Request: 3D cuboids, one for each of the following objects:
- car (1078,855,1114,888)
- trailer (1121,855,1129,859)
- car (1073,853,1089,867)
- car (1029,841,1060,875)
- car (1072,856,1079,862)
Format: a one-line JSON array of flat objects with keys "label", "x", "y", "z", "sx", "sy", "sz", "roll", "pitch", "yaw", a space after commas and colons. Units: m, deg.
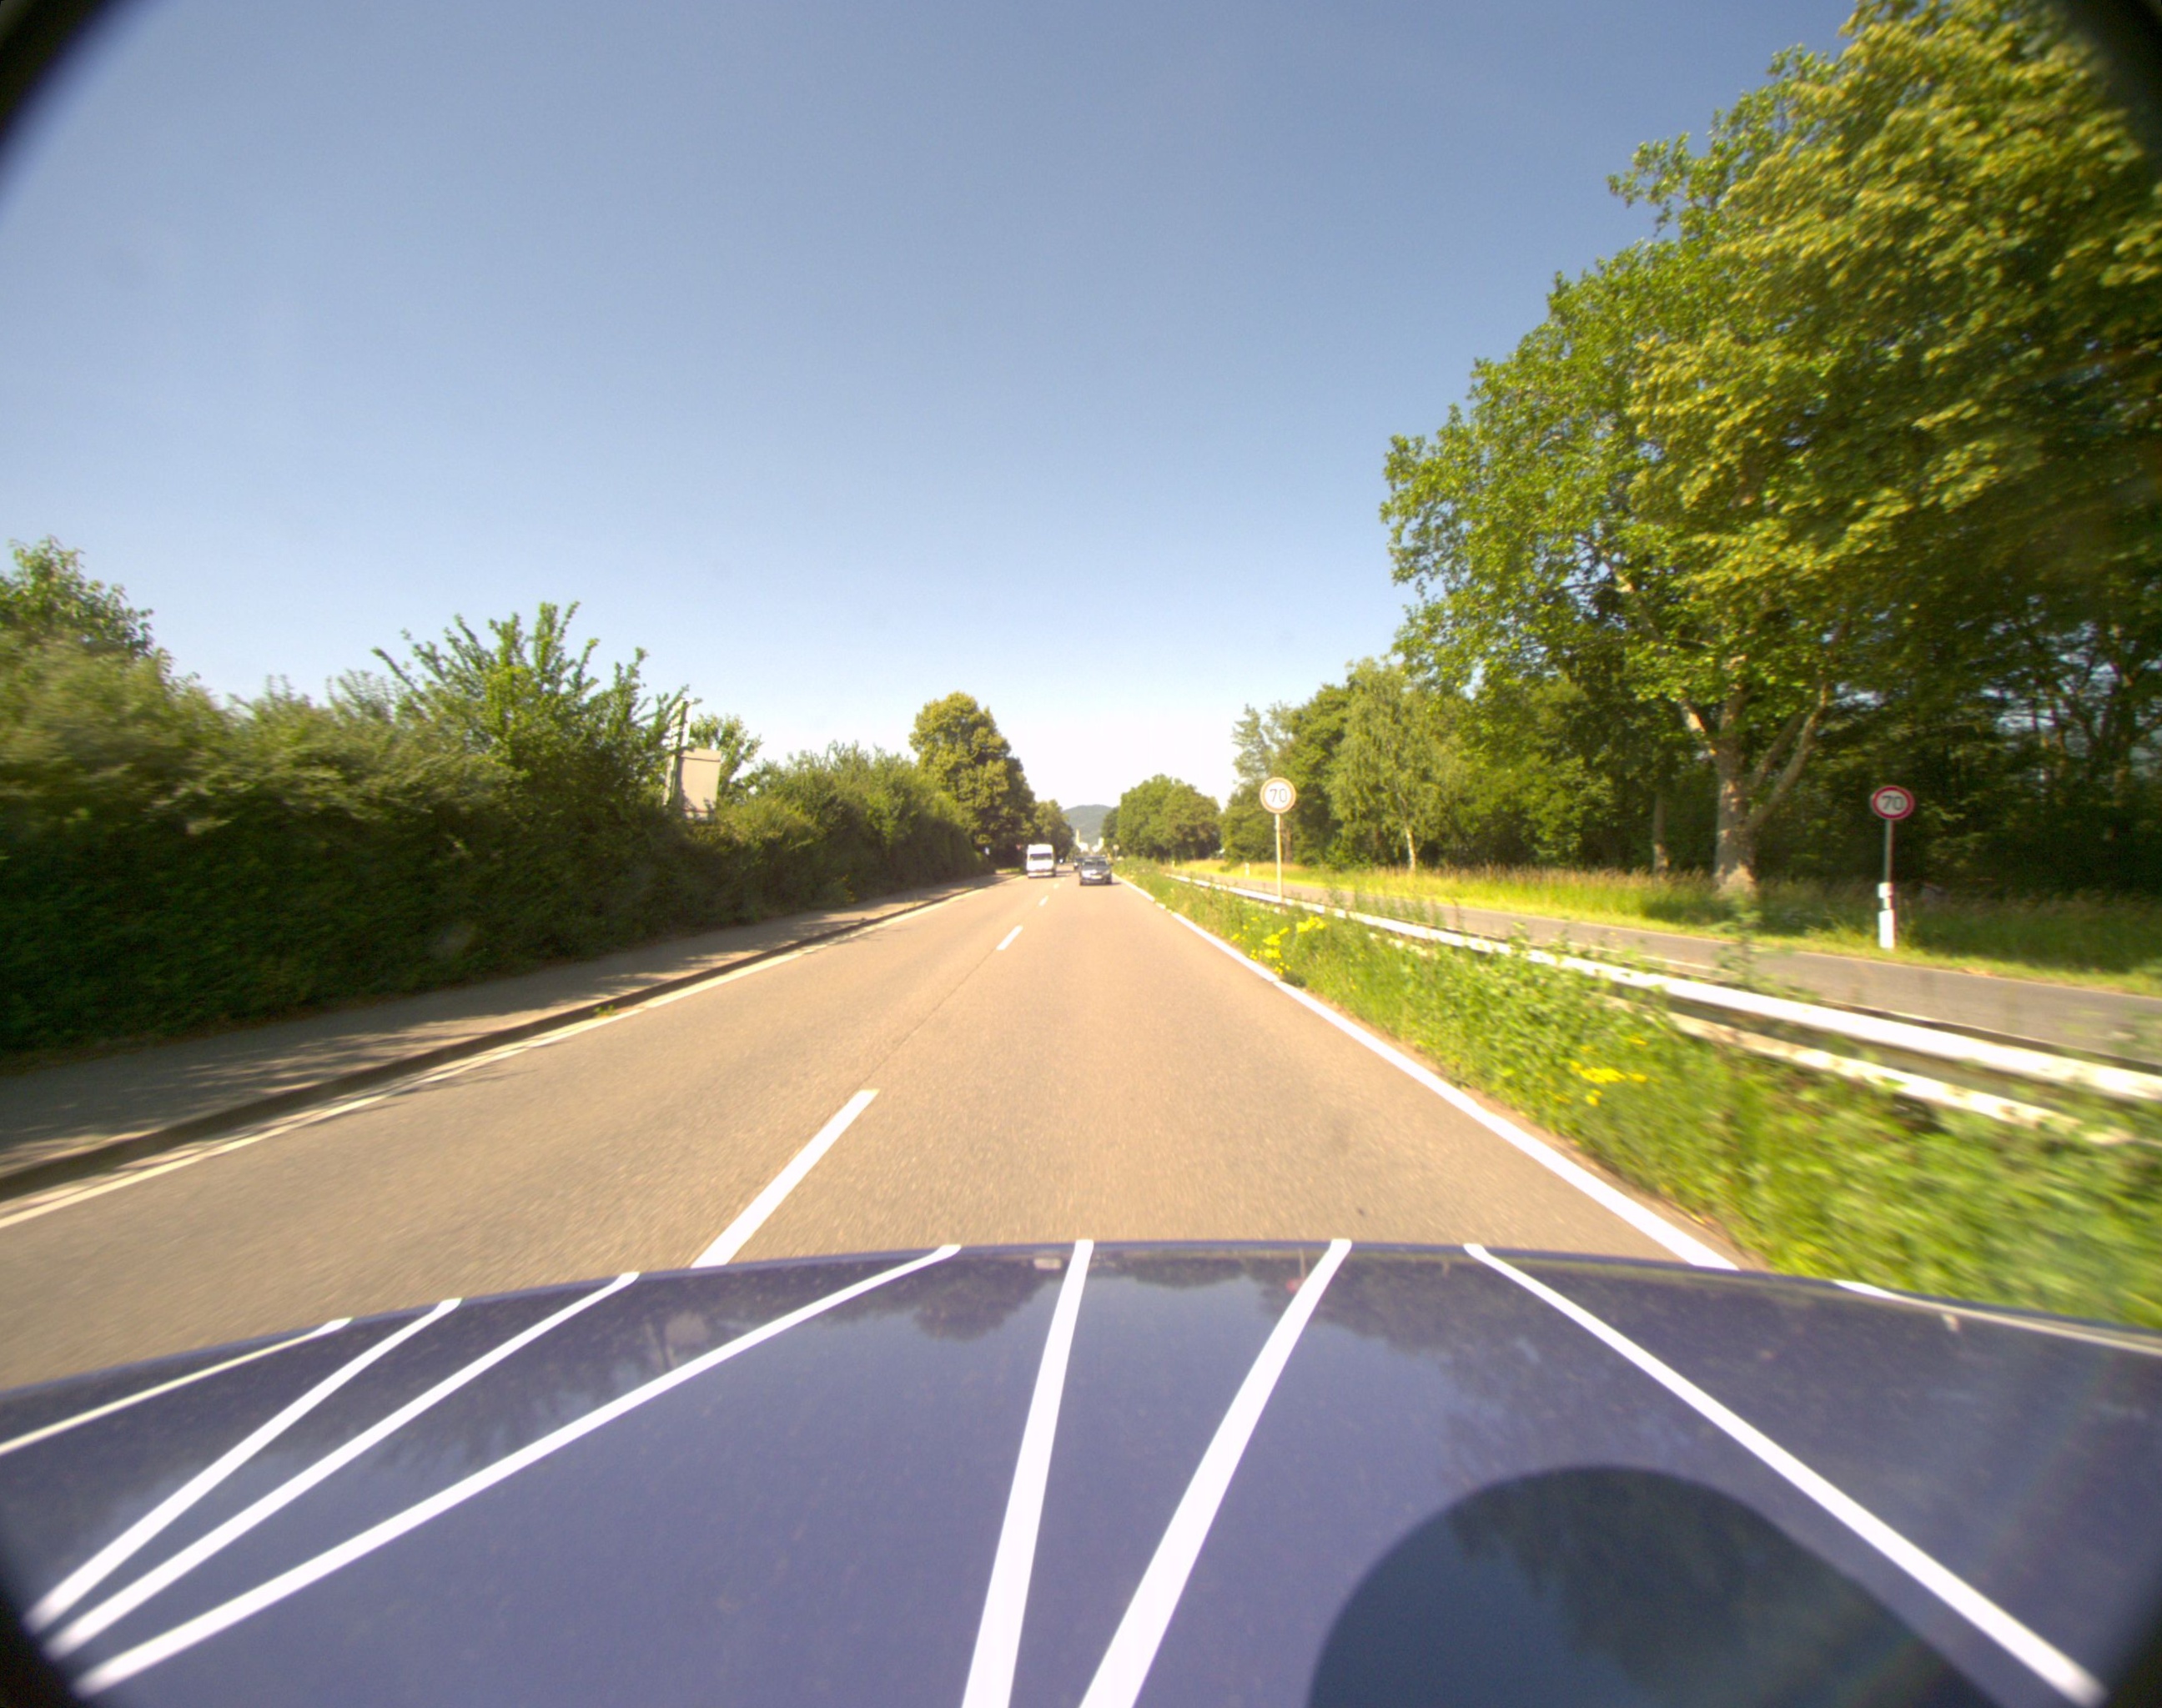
[{"label": "car", "x": 0.724, "y": 0.814, "z": 37.323, "sx": 1.678, "sy": 1.435, "sz": 4.361, "roll": -1, "pitch": 1, "yaw": 1}, {"label": "trailer", "x": 12.185, "y": 0.852, "z": 210.601, "sx": 1.969, "sy": 0.955, "sz": 5.598, "roll": -2, "pitch": -1, "yaw": 1}, {"label": "car", "x": 0.043, "y": 0.632, "z": 84.734, "sx": 1.678, "sy": 1.435, "sz": 3.622, "roll": -1, "pitch": 1, "yaw": 1}, {"label": "car", "x": -2.721, "y": 0.297, "z": 57.750, "sx": 1.998, "sy": 2.432, "sz": 5.088, "roll": -1, "pitch": 1, "yaw": 0}, {"label": "car", "x": -1.496, "y": 1.451, "z": 212.531, "sx": 1.825, "sy": 1.591, "sz": 4.000, "roll": 0, "pitch": 0, "yaw": 1}]
